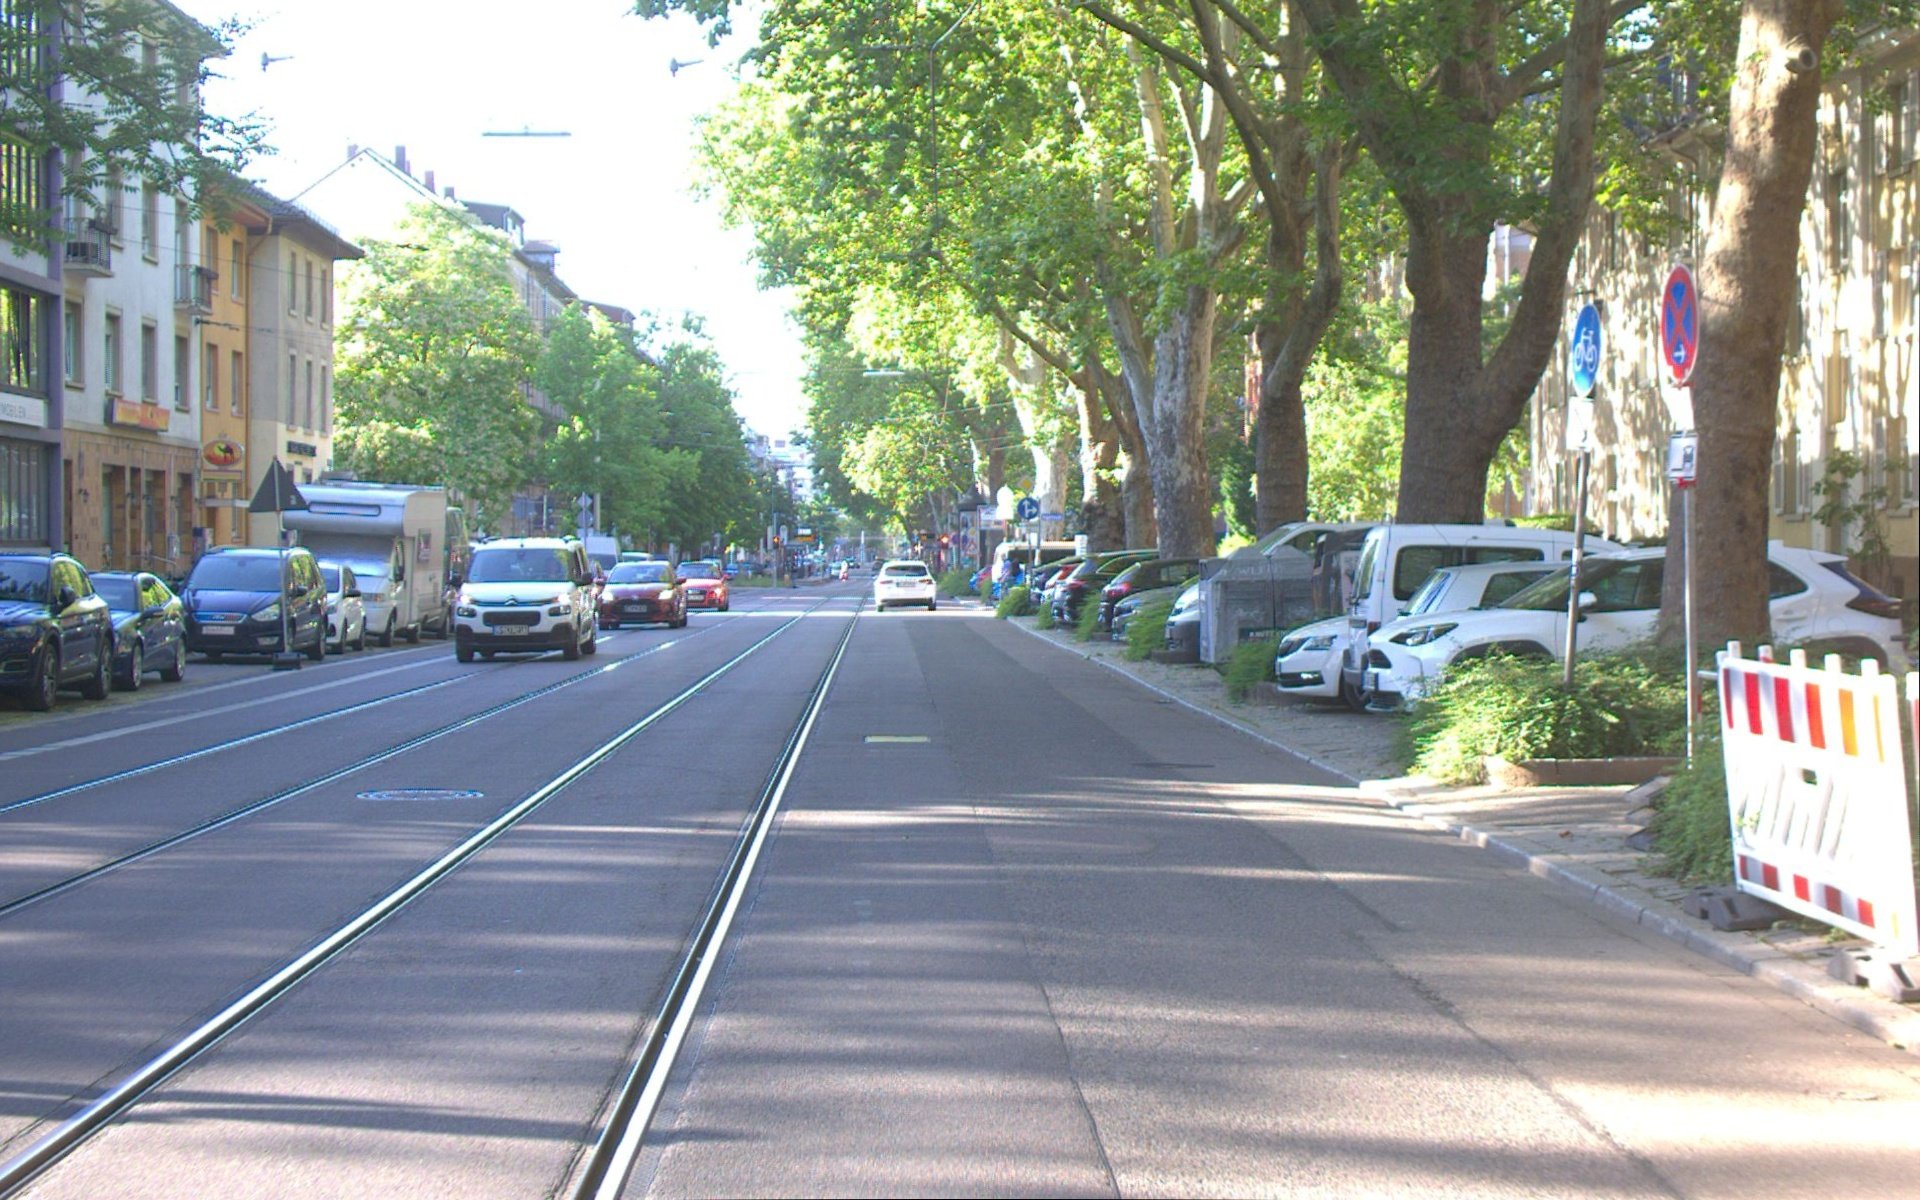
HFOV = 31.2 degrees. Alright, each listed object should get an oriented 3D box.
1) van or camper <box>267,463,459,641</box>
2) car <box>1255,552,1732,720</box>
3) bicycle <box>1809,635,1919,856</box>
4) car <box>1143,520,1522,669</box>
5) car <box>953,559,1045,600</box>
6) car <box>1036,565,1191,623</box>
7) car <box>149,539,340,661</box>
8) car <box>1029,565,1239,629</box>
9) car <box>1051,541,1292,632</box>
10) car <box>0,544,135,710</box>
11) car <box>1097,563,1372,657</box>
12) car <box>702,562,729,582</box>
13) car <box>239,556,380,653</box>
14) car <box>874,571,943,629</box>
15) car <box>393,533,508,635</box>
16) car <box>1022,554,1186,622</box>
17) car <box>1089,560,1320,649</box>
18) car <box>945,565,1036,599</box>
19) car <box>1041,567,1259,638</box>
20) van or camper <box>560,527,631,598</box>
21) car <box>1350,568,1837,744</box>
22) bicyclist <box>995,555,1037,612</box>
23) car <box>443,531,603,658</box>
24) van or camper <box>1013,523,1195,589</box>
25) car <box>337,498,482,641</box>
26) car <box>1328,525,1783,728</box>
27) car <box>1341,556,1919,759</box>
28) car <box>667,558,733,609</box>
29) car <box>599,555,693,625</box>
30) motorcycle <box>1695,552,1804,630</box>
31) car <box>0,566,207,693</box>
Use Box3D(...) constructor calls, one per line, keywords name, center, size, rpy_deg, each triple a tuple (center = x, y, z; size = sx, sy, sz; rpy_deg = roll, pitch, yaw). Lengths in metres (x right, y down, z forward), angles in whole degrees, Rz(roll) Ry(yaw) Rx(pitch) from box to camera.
Box3D(name="van or camper", center=(-11.054, -0.886, 64.183), size=(2.337, 3.030, 6.397), rpy_deg=(3, 1, 0))
Box3D(name="car", center=(5.070, 0.326, 33.161), size=(4.371, 1.537, 1.801), rpy_deg=(0, 1, 3))
Box3D(name="bicycle", center=(5.044, 0.740, 18.150), size=(0.635, 1.067, 1.809), rpy_deg=(0, 1, -1))
Box3D(name="car", center=(5.001, -0.079, 46.628), size=(4.835, 1.956, 2.065), rpy_deg=(0, 1, -3))
Box3D(name="car", center=(1.691, -0.896, 150.102), size=(3.987, 1.778, 2.000), rpy_deg=(0, 0, -1))
Box3D(name="car", center=(3.720, -0.150, 83.799), size=(3.650, 1.373, 1.890), rpy_deg=(0, 1, 0))
Box3D(name="car", center=(-10.710, -0.038, 51.808), size=(1.952, 1.680, 5.071), rpy_deg=(2, 1, -2))
Box3D(name="car", center=(3.961, -0.077, 78.934), size=(4.686, 1.441, 1.892), rpy_deg=(0, 1, -1))
Box3D(name="car", center=(4.040, -0.256, 66.000), size=(4.496, 1.596, 2.027), rpy_deg=(-2, 0, 3))
Box3D(name="car", center=(-10.273, 0.225, 36.986), size=(1.781, 1.605, 4.588), rpy_deg=(3, 1, -2))
Box3D(name="car", center=(4.400, 0.144, 55.526), size=(4.247, 1.478, 1.898), rpy_deg=(0, 1, -1))
Box3D(name="car", center=(-17.742, -2.054, 249.356), size=(1.918, 1.414, 3.591), rpy_deg=(0, 1, -4))
Box3D(name="car", center=(-10.873, 0.045, 57.687), size=(1.710, 1.483, 3.862), rpy_deg=(3, 1, -2))
Box3D(name="car", center=(-1.495, -0.010, 98.990), size=(1.918, 1.579, 3.791), rpy_deg=(-1, 1, -2))
Box3D(name="car", center=(-11.348, -0.394, 76.859), size=(1.952, 2.084, 5.249), rpy_deg=(3, 1, -3))
Box3D(name="car", center=(3.583, -0.314, 86.020), size=(3.923, 1.664, 1.961), rpy_deg=(0, 1, -3))
Box3D(name="car", center=(4.194, 0.071, 59.431), size=(3.838, 1.504, 1.711), rpy_deg=(0, 1, -1))
Box3D(name="car", center=(1.324, -0.799, 152.405), size=(3.987, 1.515, 2.000), rpy_deg=(0, 0, -1))
Box3D(name="car", center=(3.871, 0.044, 70.541), size=(4.295, 1.434, 1.948), rpy_deg=(0, 1, -2))
Box3D(name="van or camper", center=(-13.100, -1.349, 123.772), size=(2.079, 2.524, 5.318), rpy_deg=(0, 1, -1))
Box3D(name="car", center=(5.304, 0.449, 29.177), size=(3.844, 1.428, 1.851), rpy_deg=(0, 1, 3))
Box3D(name="bicyclist", center=(1.673, -0.500, 102.271), size=(1.045, 1.700, 1.058), rpy_deg=(0, 1, -10))
Box3D(name="car", center=(-6.513, -0.108, 51.687), size=(1.891, 1.826, 4.896), rpy_deg=(0, 1, -2))
Box3D(name="van or camper", center=(4.590, -1.417, 110.074), size=(5.554, 2.006, 2.245), rpy_deg=(0, 3, -5))
Box3D(name="car", center=(-11.283, -0.632, 70.798), size=(2.086, 2.722, 5.310), rpy_deg=(3, 1, -1))
Box3D(name="car", center=(5.323, 0.217, 31.138), size=(3.844, 1.766, 1.916), rpy_deg=(0, 1, 3))
Box3D(name="car", center=(5.145, 0.436, 26.786), size=(4.087, 1.516, 1.917), rpy_deg=(0, 0, -2))
Box3D(name="car", center=(-7.569, -0.488, 100.344), size=(1.723, 1.432, 4.069), rpy_deg=(-1, 1, -2))
Box3D(name="car", center=(-6.868, -0.237, 75.551), size=(1.775, 1.453, 4.203), rpy_deg=(-1, 1, -2))
Box3D(name="motorcycle", center=(14.593, -0.175, 63.558), size=(1.803, 1.356, 0.622), rpy_deg=(-3, 1, -3))
Box3D(name="car", center=(-10.568, 0.319, 42.324), size=(1.738, 1.396, 4.383), rpy_deg=(2, 1, -2))
